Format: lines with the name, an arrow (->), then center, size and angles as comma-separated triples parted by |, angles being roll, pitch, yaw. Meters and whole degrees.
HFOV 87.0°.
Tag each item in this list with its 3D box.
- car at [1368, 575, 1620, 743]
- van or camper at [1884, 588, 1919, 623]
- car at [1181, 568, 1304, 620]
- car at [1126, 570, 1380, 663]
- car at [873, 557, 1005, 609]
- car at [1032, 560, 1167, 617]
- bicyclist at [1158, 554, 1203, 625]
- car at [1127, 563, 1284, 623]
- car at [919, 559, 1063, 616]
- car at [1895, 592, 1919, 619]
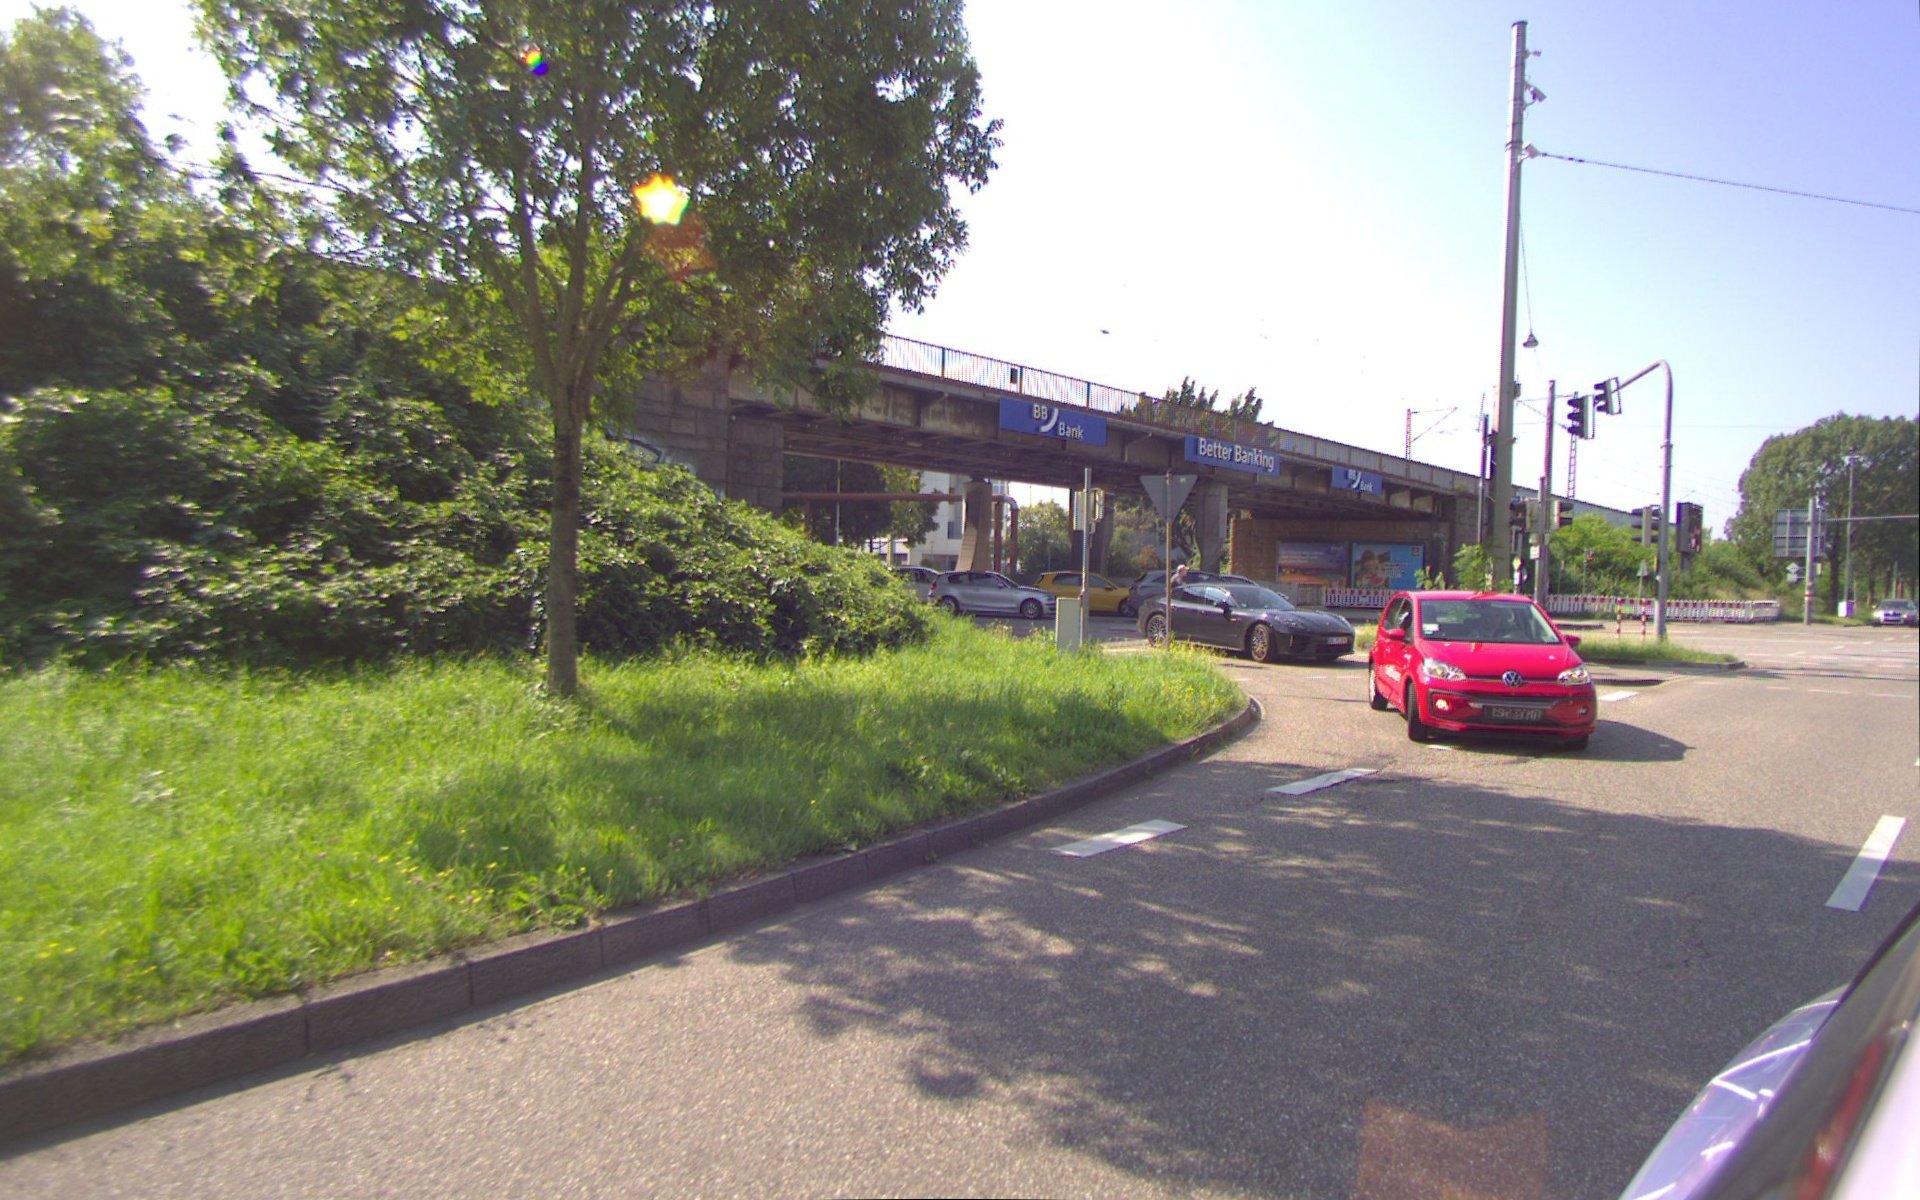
car -> 5.519, 0.497, 10.910 | 1.620, 1.485, 3.538 | -1, 1, 15
van or camper -> 52.419, 0.325, 55.766 | 4.102, 1.799, 1.848 | 3, -2, -42
car -> 9.224, -0.216, 33.268 | 3.635, 1.557, 1.723 | 2, 2, 9
car -> 5.665, 0.205, 20.287 | 1.960, 1.480, 4.895 | -1, 4, -29
car -> -0.693, -0.594, 35.192 | 4.276, 1.488, 1.995 | 4, 1, 9
car -> 4.676, -0.430, 33.957 | 4.276, 1.592, 1.996 | 4, 3, 9
bicyclist -> 5.426, -0.265, 24.942 | 0.954, 1.679, 0.711 | 2, 1, 7
car -> 7.353, -0.249, 30.467 | 4.410, 1.637, 1.900 | 1, 2, 15
car -> 1.026, -0.436, 31.849 | 4.276, 1.540, 1.996 | 3, 3, 9
car -> 57.049, 0.338, 60.185 | 3.935, 1.571, 1.995 | 0, 0, -45
